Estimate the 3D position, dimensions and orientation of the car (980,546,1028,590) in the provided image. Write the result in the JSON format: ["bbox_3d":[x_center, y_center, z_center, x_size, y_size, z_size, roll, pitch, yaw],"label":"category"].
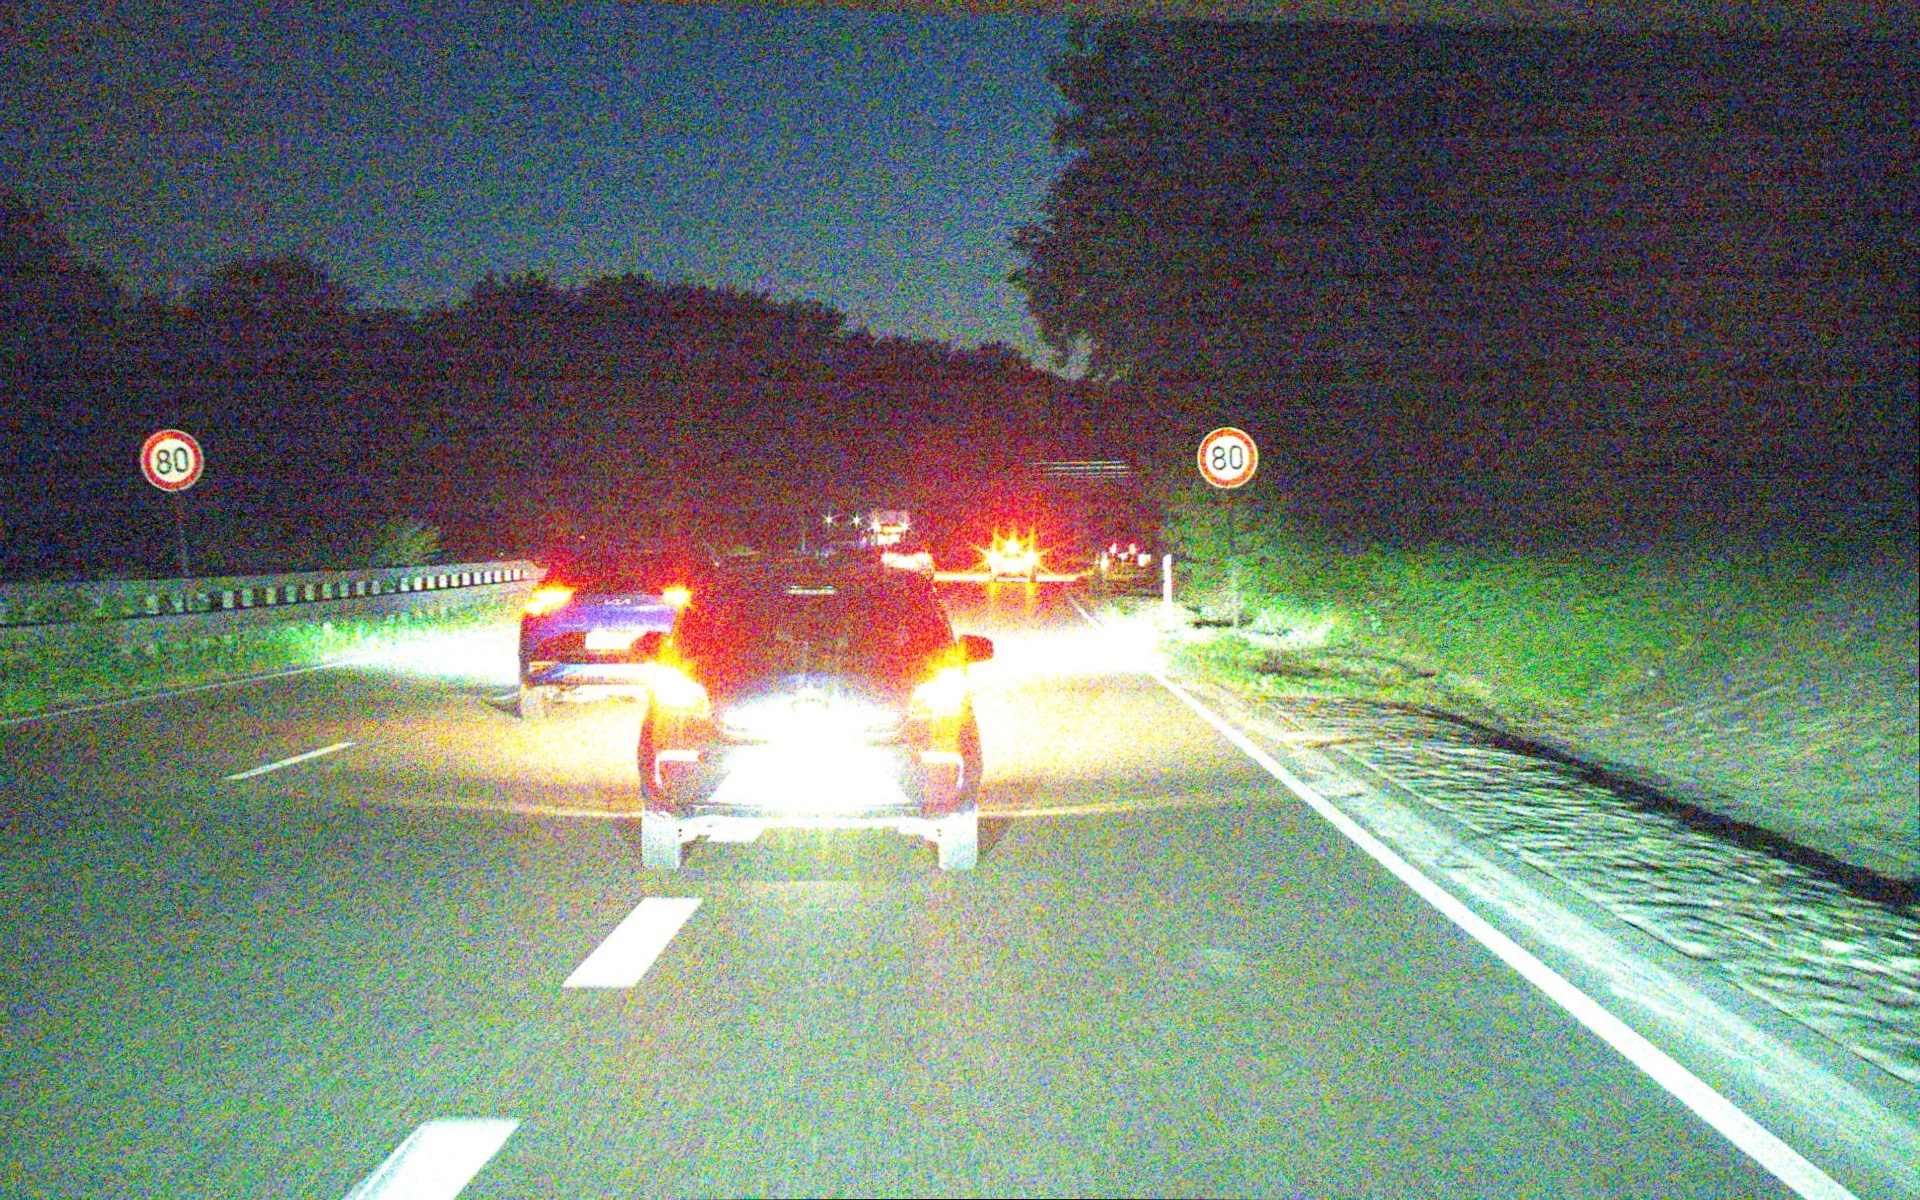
[{"bbox_3d":[1.659,-1.213,130.091,1.733,1.612,3.799,0,1,0],"label":"car"}]

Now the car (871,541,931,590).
[{"bbox_3d":[-2.133,-1.232,124.608,1.951,1.533,4.241,-4,-1,1],"label":"car"}]

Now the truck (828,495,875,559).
[{"bbox_3d":[-7.187,-4.844,227.635,2.676,4.163,5.868,0,1,3],"label":"truck"}]

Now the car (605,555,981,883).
[{"bbox_3d":[-0.877,0.520,17.651,1.691,1.473,4.001,1,1,-3],"label":"car"}]

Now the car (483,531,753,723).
[{"bbox_3d":[-3.039,0.179,31.468,1.940,1.603,4.644,1,1,1],"label":"car"}]
